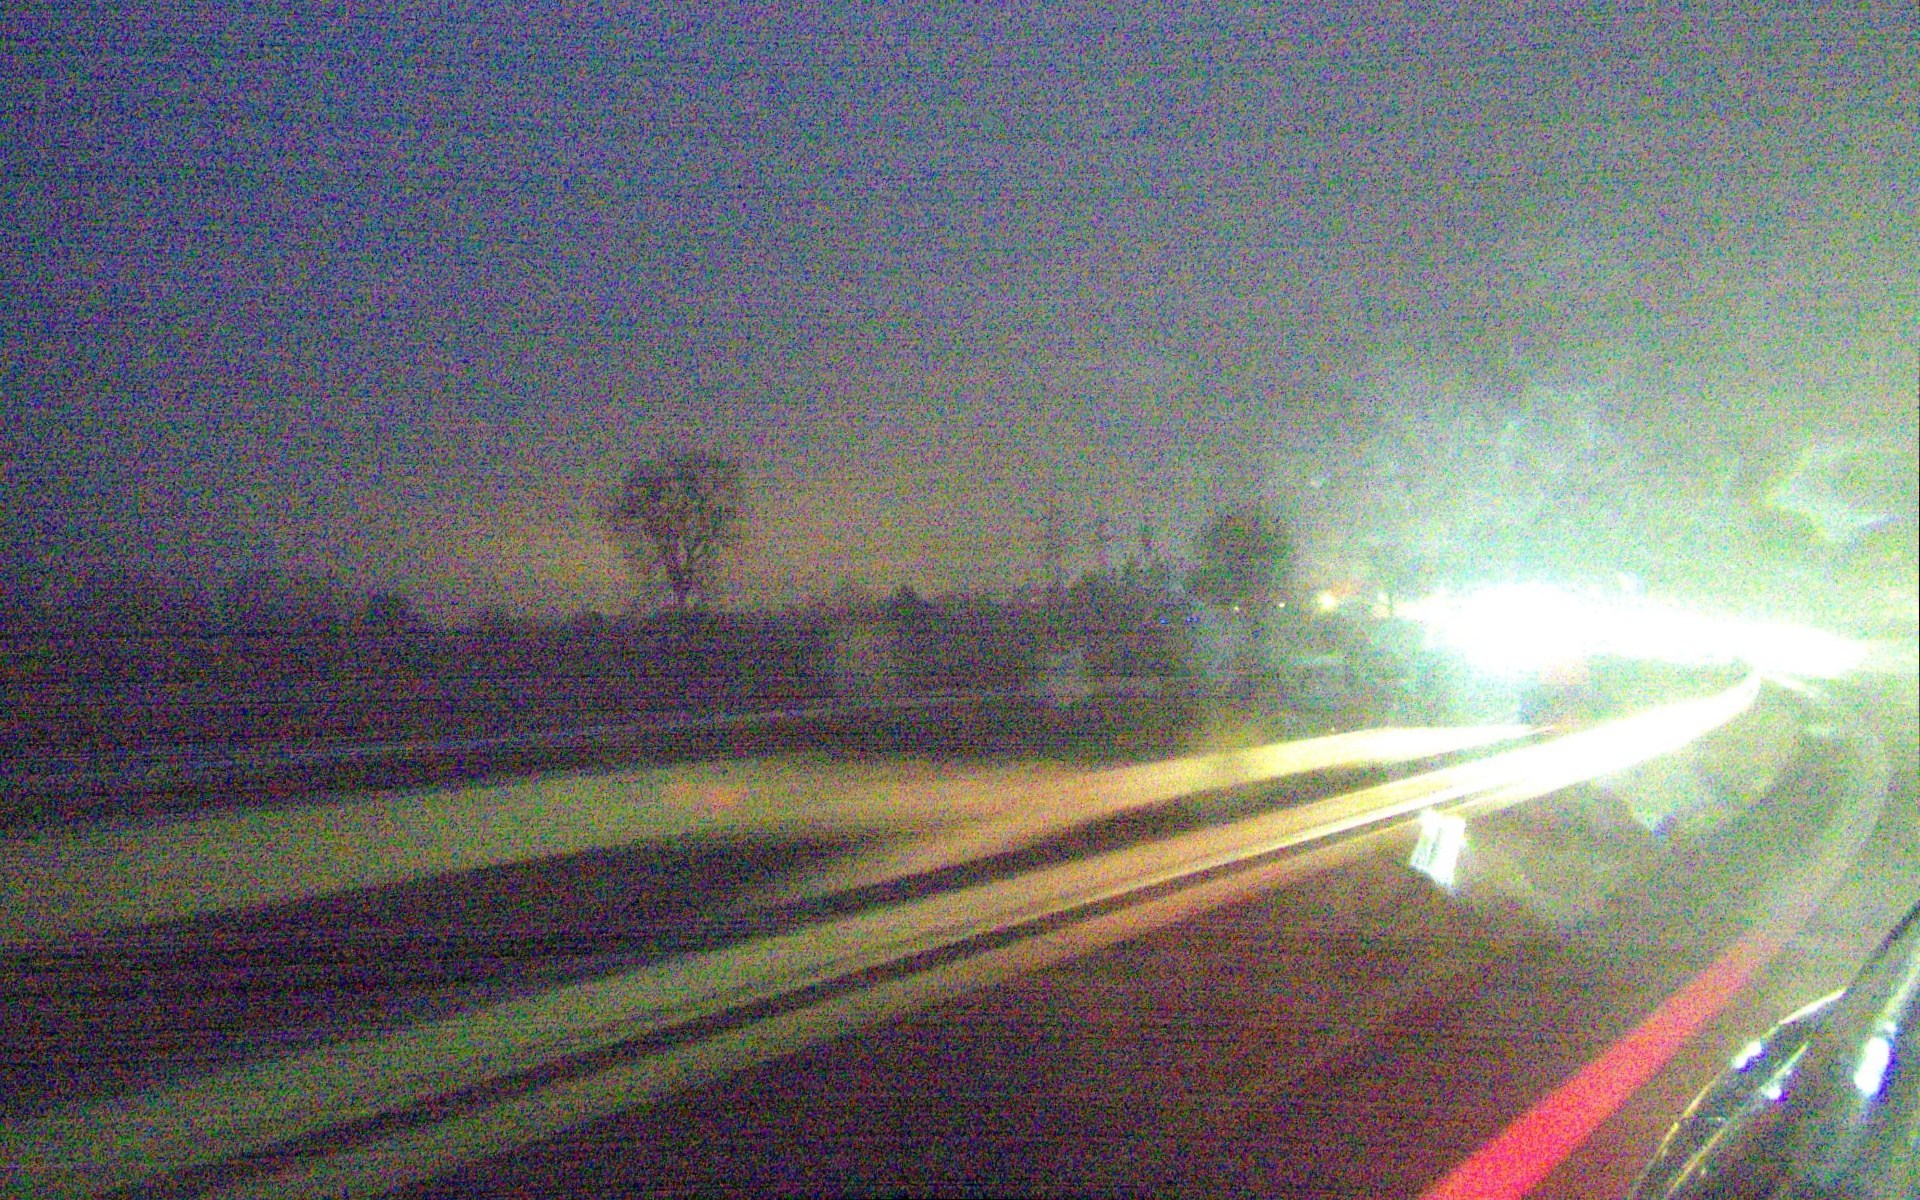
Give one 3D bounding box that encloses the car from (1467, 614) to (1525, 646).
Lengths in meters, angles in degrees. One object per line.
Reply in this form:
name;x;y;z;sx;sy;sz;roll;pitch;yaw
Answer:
car;32.755;1.849;61.973;1.968;1.770;4.085;-3;-3;11
